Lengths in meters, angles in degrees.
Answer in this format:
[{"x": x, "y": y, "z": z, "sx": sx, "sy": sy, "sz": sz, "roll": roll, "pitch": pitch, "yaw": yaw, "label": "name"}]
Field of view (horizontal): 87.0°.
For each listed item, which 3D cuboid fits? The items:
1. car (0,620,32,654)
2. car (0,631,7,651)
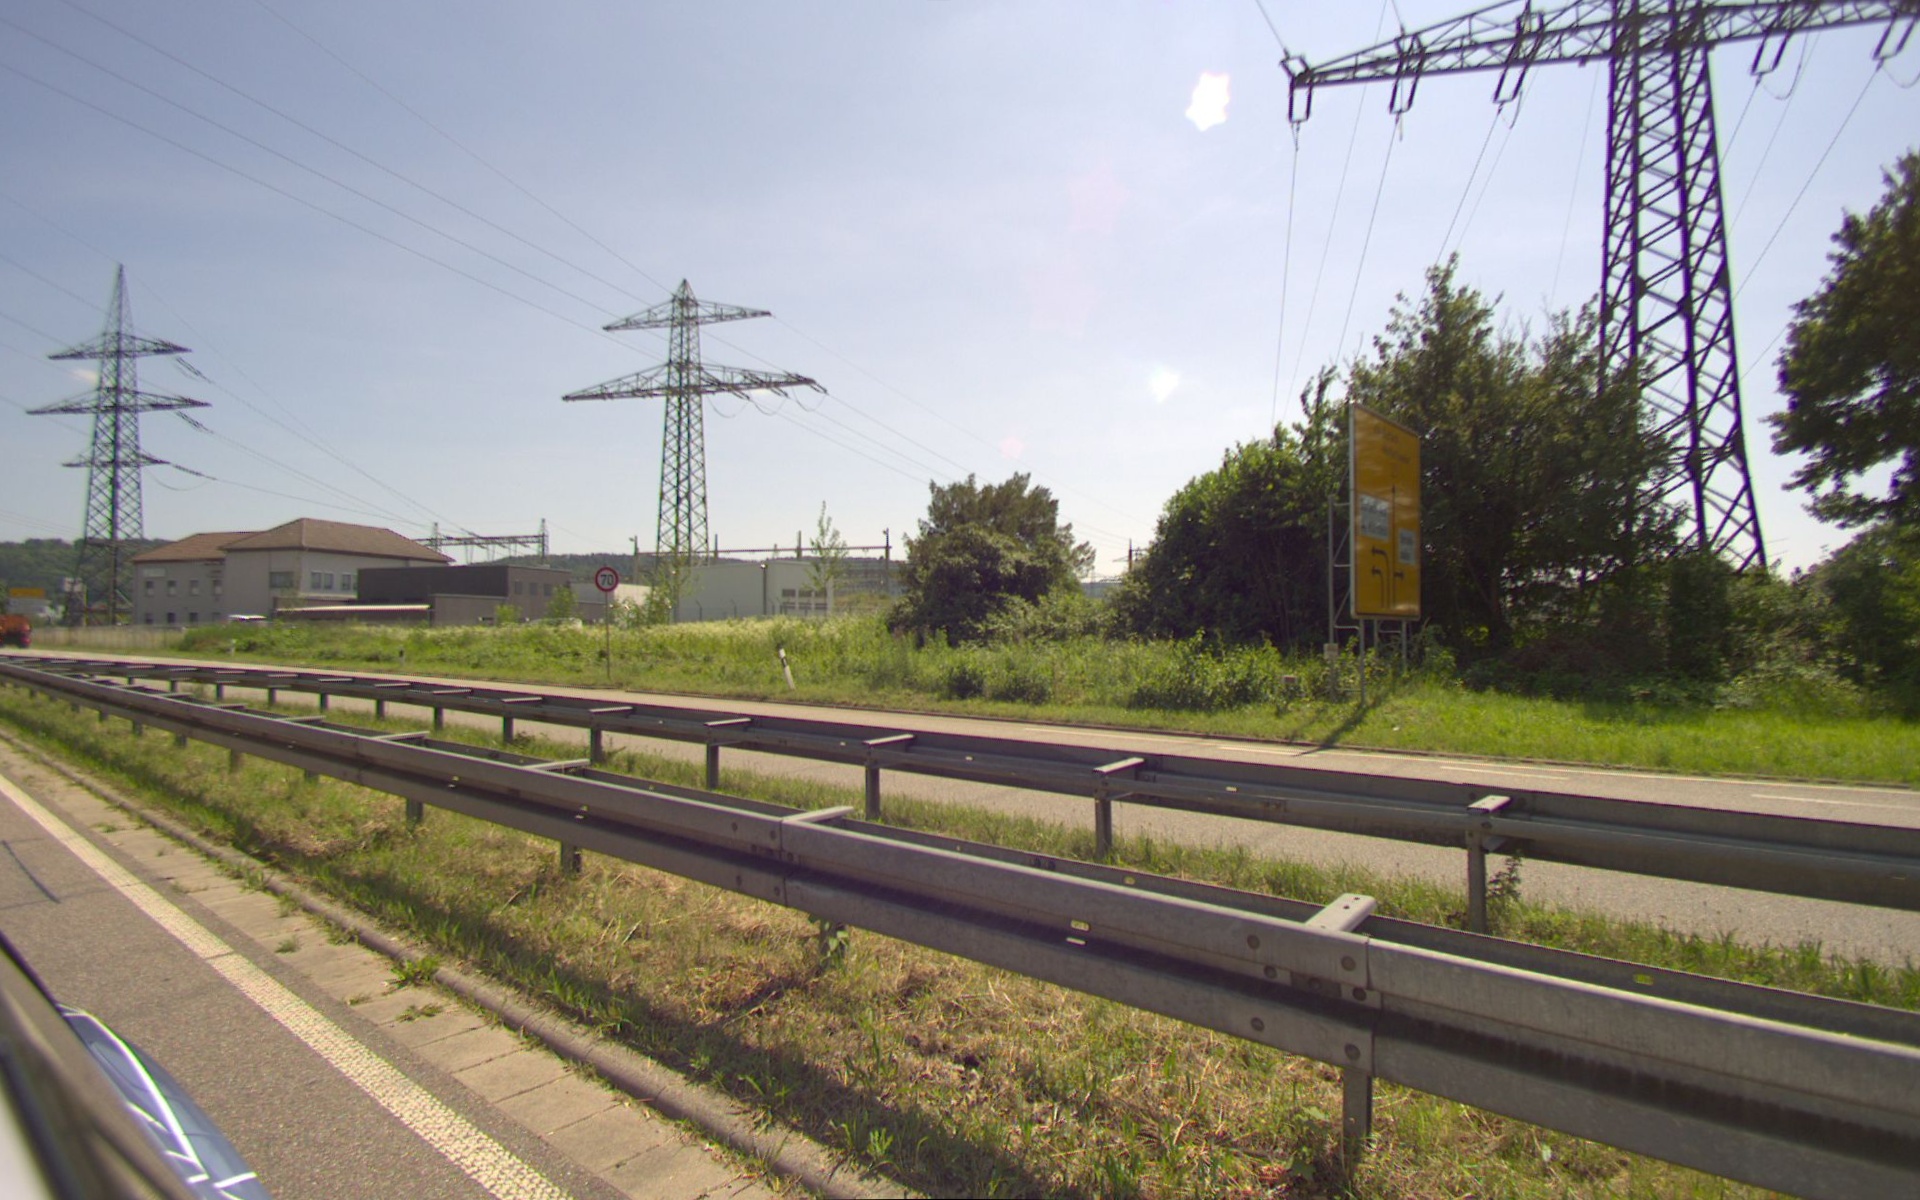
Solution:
[{"x": -87.509, "y": 3.398, "z": 92.998, "sx": 5.634, "sy": 3.084, "sz": 2.574, "roll": -2, "pitch": -3, "yaw": 40, "label": "car"}, {"x": -95.325, "y": 4.034, "z": 99.352, "sx": 3.993, "sy": 1.929, "sz": 1.975, "roll": 0, "pitch": 0, "yaw": 37, "label": "car"}]
